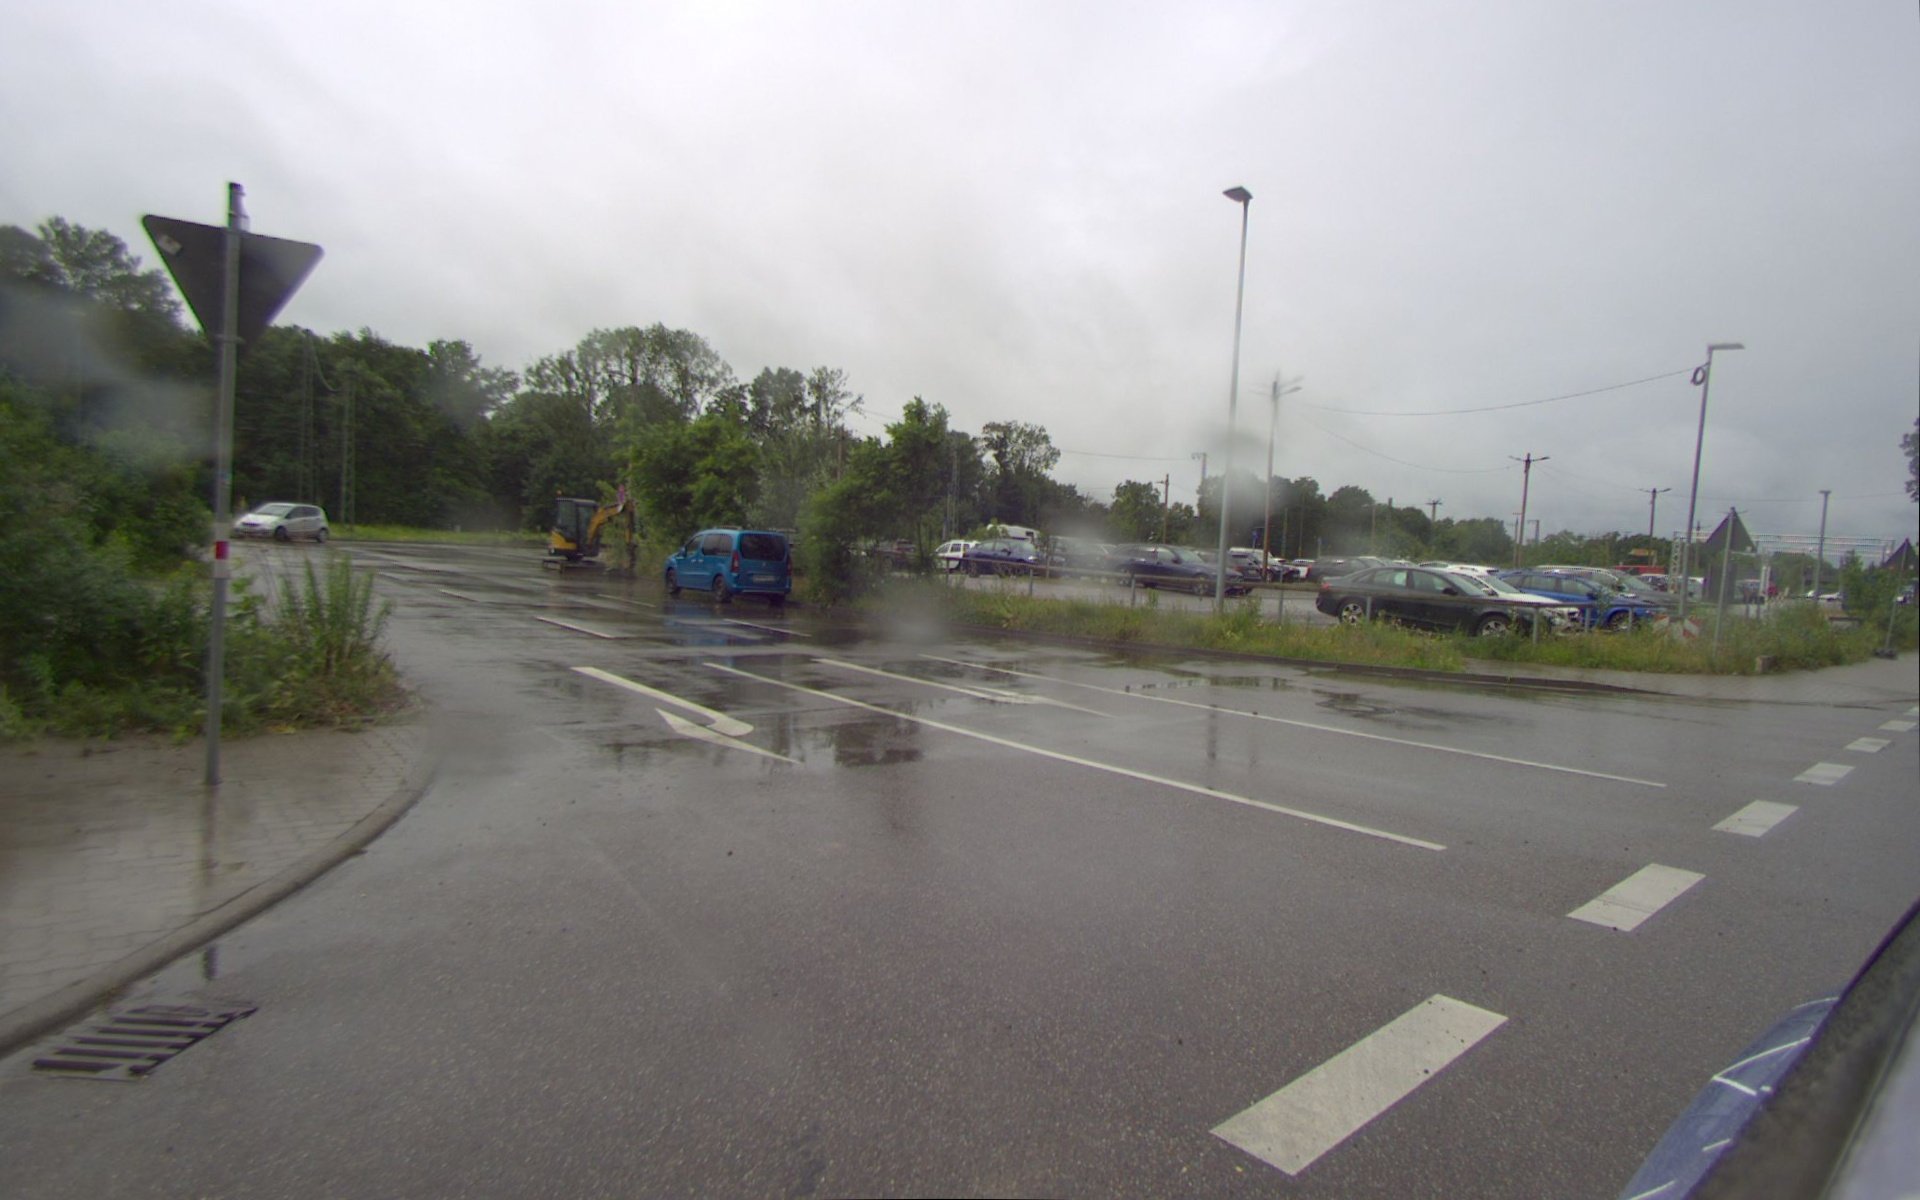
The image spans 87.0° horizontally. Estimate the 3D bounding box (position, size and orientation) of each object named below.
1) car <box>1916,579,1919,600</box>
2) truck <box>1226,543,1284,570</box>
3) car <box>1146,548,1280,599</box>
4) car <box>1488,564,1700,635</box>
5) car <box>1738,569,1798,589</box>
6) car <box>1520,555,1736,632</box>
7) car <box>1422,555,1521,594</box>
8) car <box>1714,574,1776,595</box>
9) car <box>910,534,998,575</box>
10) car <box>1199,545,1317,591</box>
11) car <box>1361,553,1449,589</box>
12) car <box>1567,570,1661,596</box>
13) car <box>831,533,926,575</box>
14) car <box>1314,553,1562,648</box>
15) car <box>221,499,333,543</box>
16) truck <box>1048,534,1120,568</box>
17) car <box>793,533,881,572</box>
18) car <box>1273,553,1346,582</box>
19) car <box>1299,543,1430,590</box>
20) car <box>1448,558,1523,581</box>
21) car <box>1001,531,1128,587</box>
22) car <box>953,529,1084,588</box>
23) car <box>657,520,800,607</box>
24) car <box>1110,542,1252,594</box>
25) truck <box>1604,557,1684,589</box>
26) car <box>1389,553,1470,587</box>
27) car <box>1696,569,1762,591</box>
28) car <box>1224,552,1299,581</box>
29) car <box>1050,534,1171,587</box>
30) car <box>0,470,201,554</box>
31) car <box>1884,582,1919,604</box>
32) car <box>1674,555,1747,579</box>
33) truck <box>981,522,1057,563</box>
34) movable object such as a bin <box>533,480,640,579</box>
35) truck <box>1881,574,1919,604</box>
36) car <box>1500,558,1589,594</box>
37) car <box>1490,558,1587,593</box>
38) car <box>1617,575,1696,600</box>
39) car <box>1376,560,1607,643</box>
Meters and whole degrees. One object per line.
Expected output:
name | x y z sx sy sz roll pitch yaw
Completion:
car | 77.483 -0.696 79.021 1.865 1.613 3.902 -2 5 -43
truck | 24.967 -3.659 85.546 5.185 2.037 2.087 1 5 -40
car | 8.505 -0.944 34.253 1.965 1.503 3.997 -1 5 -40
car | 16.464 -0.084 26.467 1.788 1.535 4.306 -1 5 -40
car | 75.724 -1.997 94.888 1.774 1.555 3.966 -1 7 -38
car | 19.159 -0.271 29.258 2.088 1.755 4.699 -1 6 -36
car | 25.388 -1.295 50.341 1.893 1.500 3.844 -1 8 -38
car | 69.279 -1.401 89.382 1.788 1.443 3.966 -1 7 -38
car | -0.319 -2.252 49.664 3.985 1.748 1.870 6 5 40
car | 13.495 -1.510 46.061 2.008 1.623 4.715 -2 8 -41
car | 25.182 -1.680 57.380 1.893 1.623 4.073 -1 8 -40
car | 41.742 -1.113 64.658 1.944 1.235 4.599 -1 7 -41
car | -3.771 -2.121 45.996 1.907 1.587 4.598 2 3 -41
car | 9.827 -0.077 20.992 4.218 1.416 1.863 9 7 41
car | -28.526 -3.265 42.417 1.848 1.620 3.999 3 3 3
truck | 8.940 -3.525 72.683 4.988 2.163 2.080 1 4 -36
car | -5.405 -2.088 44.175 1.857 1.413 3.997 2 3 -41
car | 24.428 -2.294 70.822 1.987 1.741 4.325 0 5 -43
car | 16.781 -1.427 42.125 4.621 1.736 1.988 5 5 44
car | 35.163 -2.069 67.779 1.801 1.084 4.070 -2 8 -42
car | 3.876 -1.574 38.037 2.010 1.691 4.450 -2 8 -43
car | 2.029 -1.526 36.249 2.010 1.691 4.450 -2 8 -43
car | -5.949 -0.960 25.745 1.800 1.945 3.995 1 3 -42
car | 6.942 -1.051 32.082 1.965 1.426 3.997 -1 5 -40
truck | 59.743 -2.380 88.436 2.116 2.395 5.302 0 5 -41
car | 28.854 -1.888 62.273 1.801 1.678 4.070 -2 8 -42
car | 63.636 -1.691 83.795 1.853 1.443 3.966 -1 7 -38
car | 19.999 -2.269 67.182 1.986 1.608 4.328 0 5 -41
car | 5.923 -1.614 40.164 2.008 1.691 4.453 -2 8 -41
car | -21.992 -2.210 25.551 4.311 1.844 1.786 -1 6 -45
car | 69.175 -0.463 72.821 1.874 1.410 3.777 -2 5 -43
car | 55.931 -2.474 75.431 1.746 1.507 3.966 -1 7 -38
truck | 4.025 -3.873 68.362 4.995 2.430 2.077 0 5 -42
movable object such as a bin | -12.380 -2.342 33.428 1.965 3.028 3.996 1 3 -41
truck | 81.181 -0.875 85.307 2.075 2.431 5.041 -1 4 -43
car | 33.297 -1.388 57.742 1.754 1.601 3.918 -1 8 -38
car | 31.415 -1.356 55.051 1.893 1.500 4.060 -1 8 -38
car | 45.835 -0.839 66.700 1.617 1.235 3.904 -1 7 -35
car | 11.902 -0.054 22.879 1.857 1.527 4.192 -1 5 -40
